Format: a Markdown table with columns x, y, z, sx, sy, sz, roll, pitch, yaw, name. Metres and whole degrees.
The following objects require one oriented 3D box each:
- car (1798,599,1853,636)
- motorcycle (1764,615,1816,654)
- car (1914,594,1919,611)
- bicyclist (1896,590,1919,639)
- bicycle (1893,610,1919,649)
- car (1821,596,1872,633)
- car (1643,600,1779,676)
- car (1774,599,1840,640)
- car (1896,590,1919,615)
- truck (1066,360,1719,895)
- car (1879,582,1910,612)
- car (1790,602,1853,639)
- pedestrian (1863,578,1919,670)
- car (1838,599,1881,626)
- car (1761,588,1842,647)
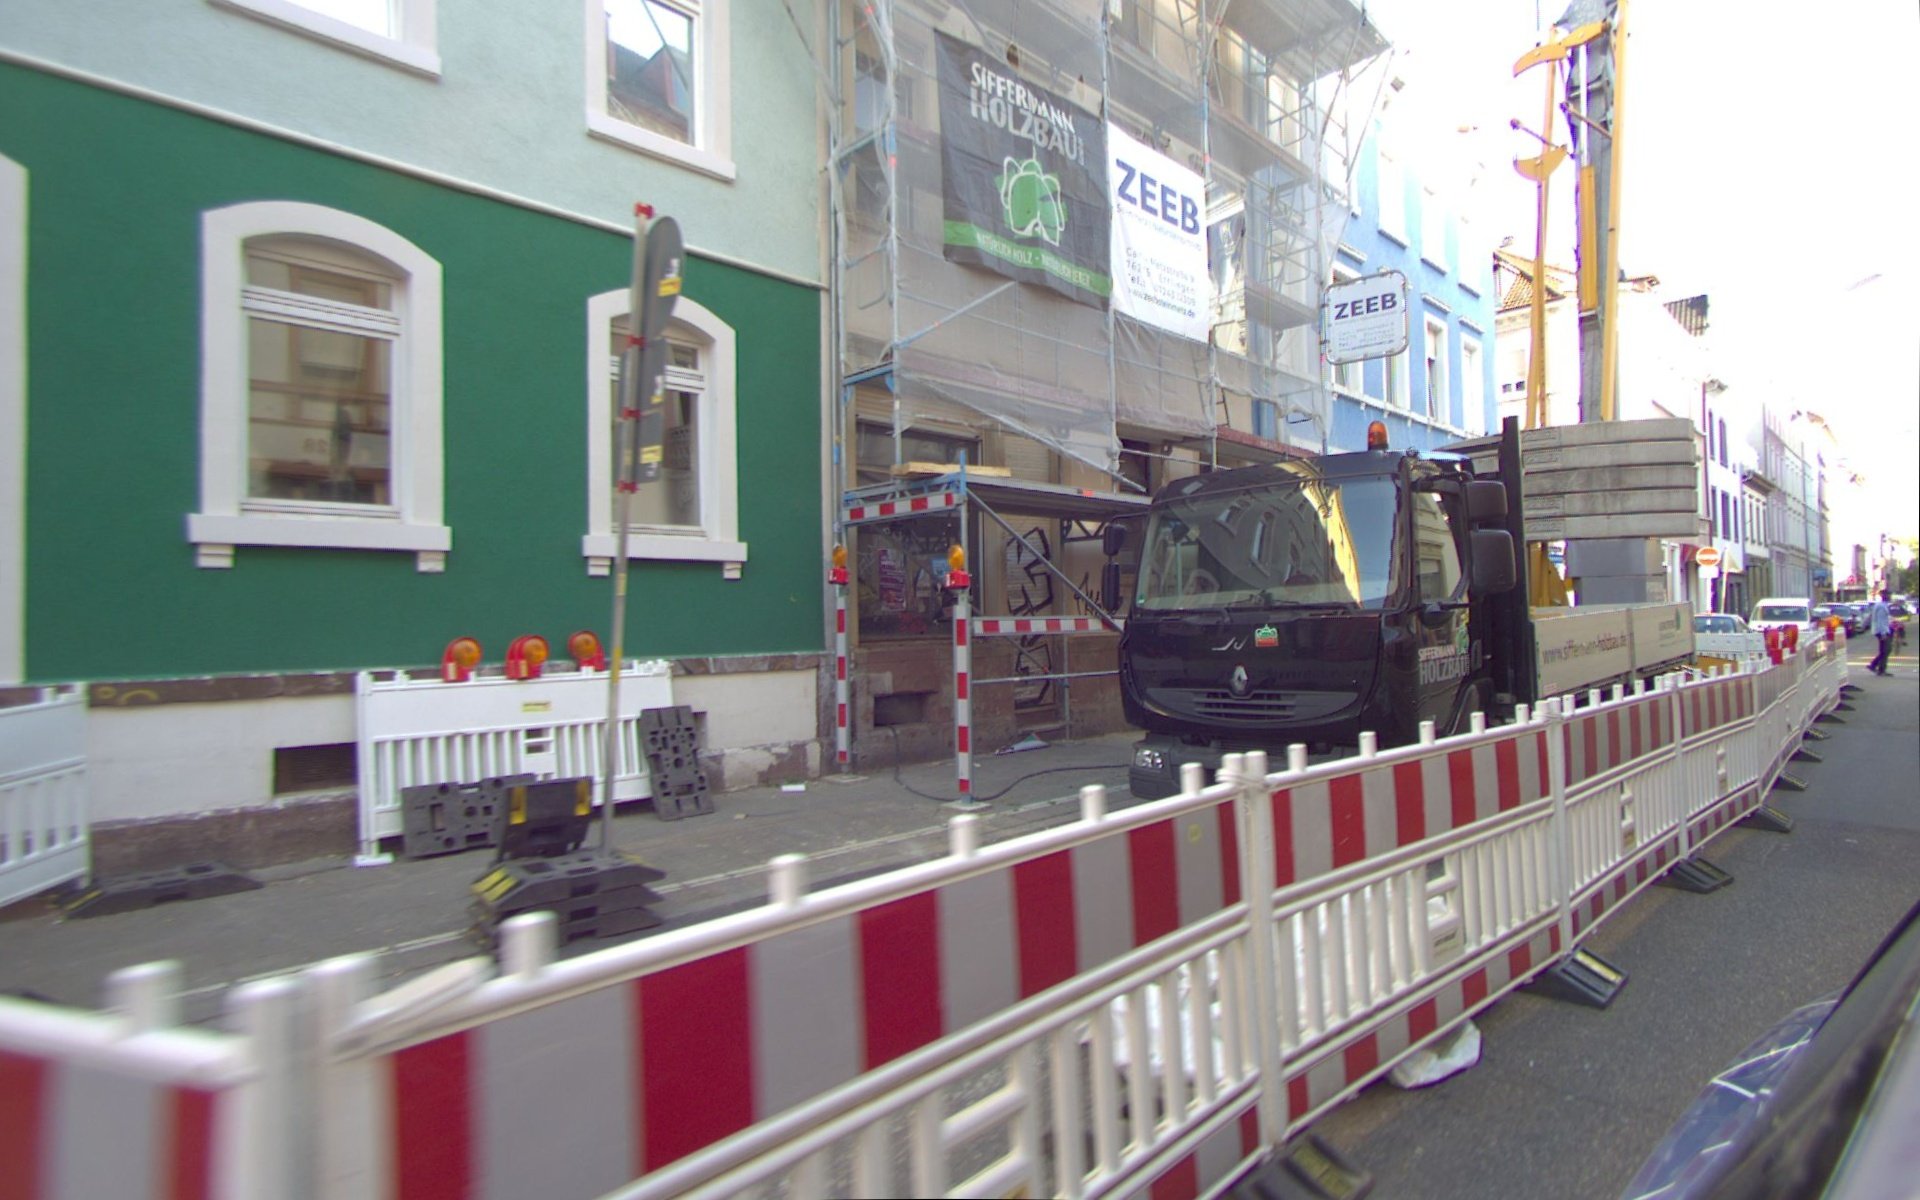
| x | y | z | sx | sy | sz | roll | pitch | yaw | name |
| --- | --- | --- | --- | --- | --- | --- | --- | --- | --- |
| 38.745 | 0.757 | 45.263 | 1.616 | 1.523 | 3.712 | 0 | 0 | 44 | car |
| 25.904 | 1.053 | 31.583 | 1.958 | 1.099 | 0.721 | -1 | 3 | -34 | motorcycle |
| 122.956 | 0.301 | 128.811 | 1.991 | 2.040 | 4.496 | -4 | -2 | 41 | car |
| 28.448 | 0.436 | 30.173 | 0.776 | 1.454 | 0.709 | 0 | -2 | -43 | bicyclist |
| 28.450 | 0.859 | 30.204 | 1.902 | 1.126 | 0.709 | 0 | -2 | -43 | bicycle |
| 44.630 | 0.667 | 50.911 | 1.709 | 1.753 | 4.337 | 0 | 0 | 44 | car |
| 16.113 | 0.773 | 21.642 | 1.771 | 1.452 | 3.969 | -3 | -2 | 44 | car |
| 31.655 | 0.684 | 37.784 | 1.609 | 1.426 | 3.819 | 0 | 0 | 44 | car |
| 111.555 | 0.256 | 119.004 | 1.991 | 2.829 | 4.496 | -4 | -2 | 41 | car |
| 4.318 | 0.155 | 8.918 | 7.273 | 2.850 | 2.662 | -1 | -2 | -45 | truck |
| 92.902 | -0.296 | 100.611 | 1.991 | 2.829 | 4.496 | -4 | -2 | 41 | car |
| 35.761 | 0.797 | 41.983 | 1.732 | 1.413 | 3.819 | 0 | 0 | 44 | car |
| 19.524 | 0.497 | 21.156 | 0.766 | 1.873 | 0.771 | -1 | -2 | -39 | pedestrian |
| 50.004 | 0.657 | 56.216 | 1.609 | 1.413 | 3.819 | 0 | 0 | 44 | car |
| 28.349 | 0.527 | 34.058 | 1.749 | 1.839 | 4.300 | 0 | 0 | 44 | car |
